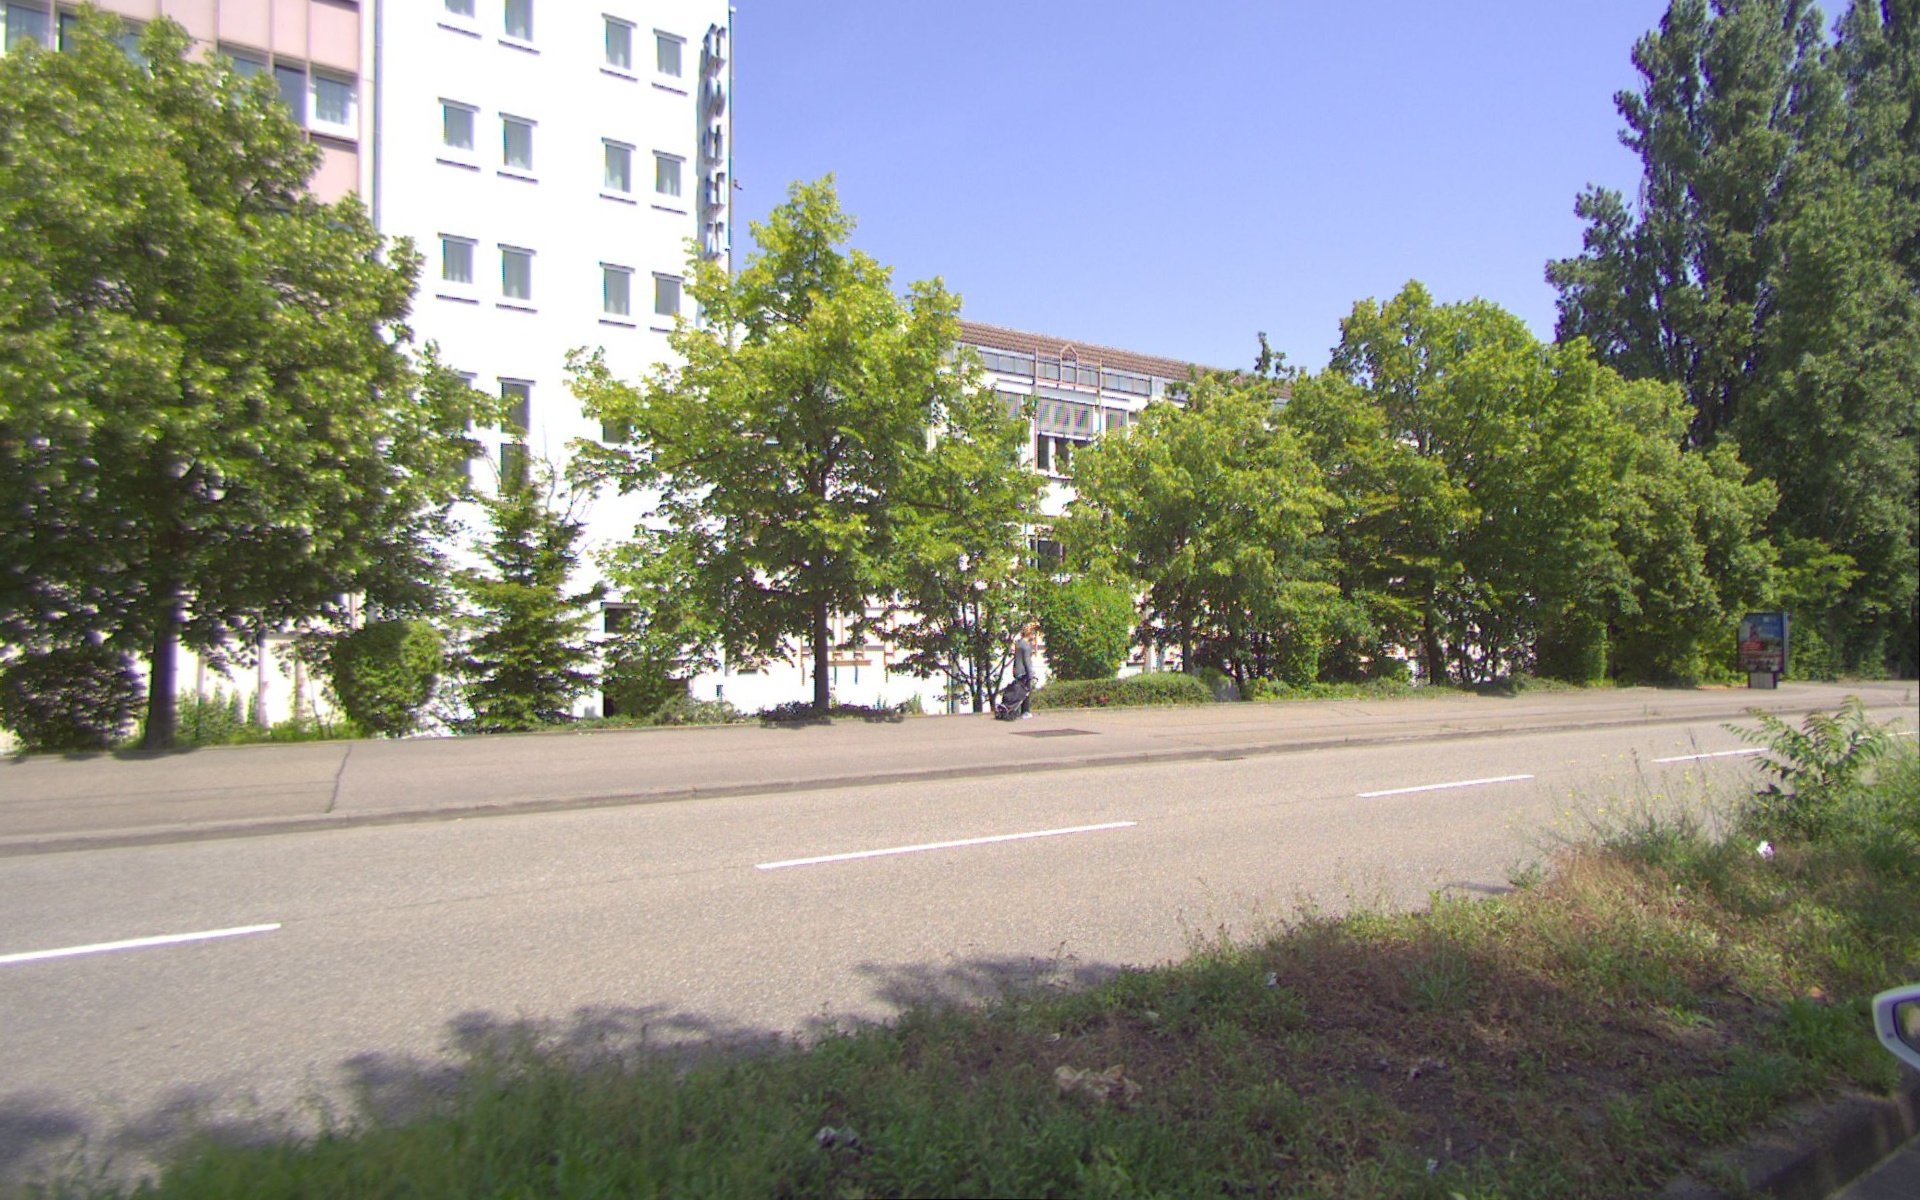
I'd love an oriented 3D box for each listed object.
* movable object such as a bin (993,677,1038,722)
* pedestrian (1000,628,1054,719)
[{"bbox_3d":[0.932,1.677,16.999,0.642,0.714,0.427,1,-3,-22],"label":"movable object such as a bin"},{"bbox_3d":[1.181,1.282,17.707,0.719,1.565,0.630,1,-3,-31],"label":"pedestrian"}]
